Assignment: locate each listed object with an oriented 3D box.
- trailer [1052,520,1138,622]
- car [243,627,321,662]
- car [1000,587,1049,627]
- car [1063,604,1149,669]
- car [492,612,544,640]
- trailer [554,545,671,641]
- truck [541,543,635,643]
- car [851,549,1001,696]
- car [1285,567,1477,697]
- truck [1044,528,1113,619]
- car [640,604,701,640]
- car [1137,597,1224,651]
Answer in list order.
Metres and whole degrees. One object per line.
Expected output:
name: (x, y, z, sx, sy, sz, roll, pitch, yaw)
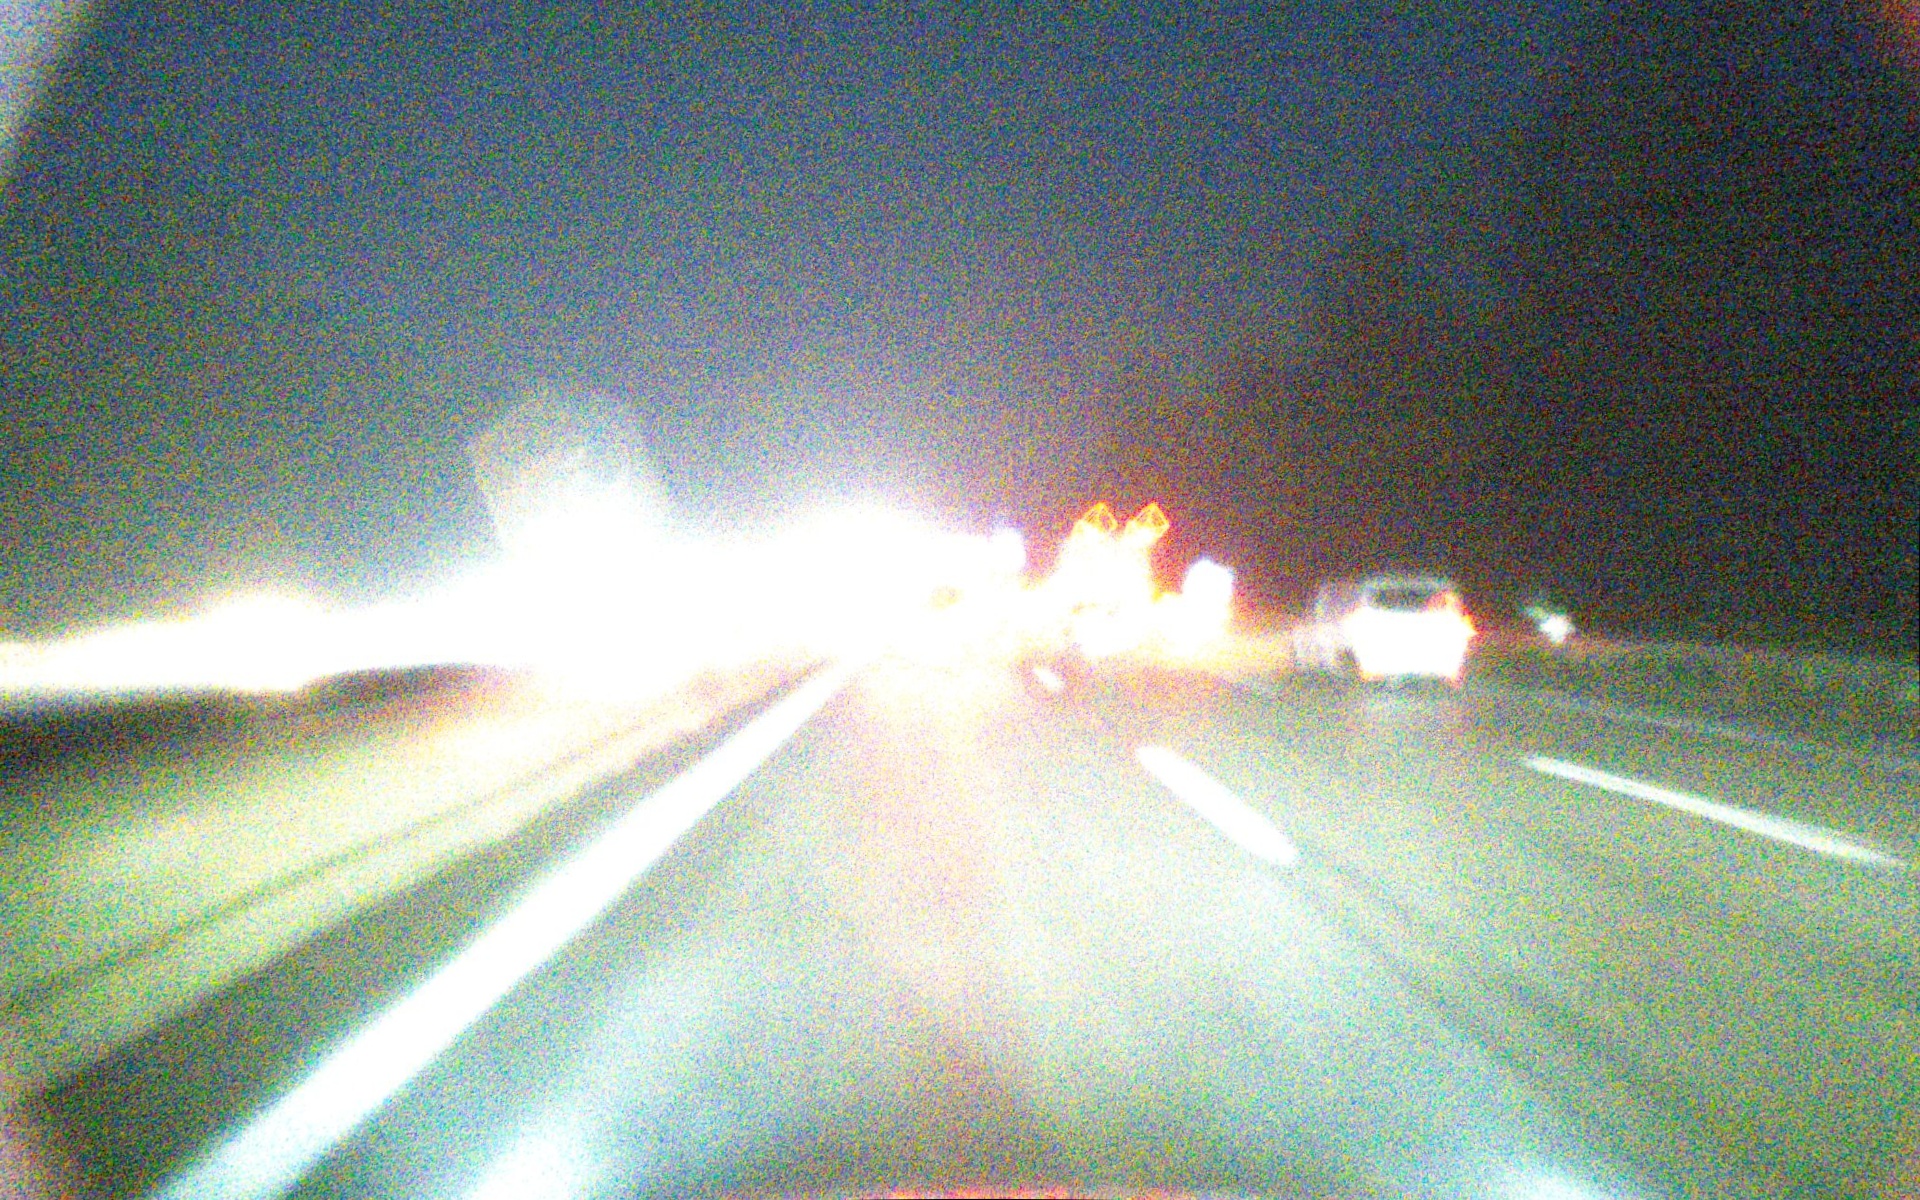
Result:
trailer: (6.044, -1.243, 75.948, 2.746, 4.286, 12.094, 1, 0, -1)
car: (-24.633, 1.605, 60.194, 1.380, 1.145, 3.541, -1, 0, -1)
car: (2.699, 0.287, 69.698, 1.846, 1.616, 3.999, 1, 0, -1)
car: (3.450, 0.839, 39.624, 1.580, 1.437, 3.790, 1, 0, -2)
car: (-21.403, 1.251, 80.238, 1.577, 1.252, 3.681, -1, 0, -1)
trailer: (-17.387, -0.369, 83.996, 2.986, 4.368, 14.406, -2, 0, -1)
truck: (-17.279, -0.323, 77.226, 2.992, 4.368, 6.082, -2, 0, -1)
car: (-0.719, 0.371, 32.865, 2.655, 2.578, 5.828, -2, 1, -2)
car: (7.274, 0.483, 29.191, 2.004, 2.008, 5.407, -2, 1, 0)
truck: (5.886, -1.280, 83.197, 2.747, 4.341, 7.446, 1, 0, -1)
car: (-12.507, 0.915, 71.745, 1.953, 1.445, 3.999, -1, 0, -1)
car: (6.777, 0.694, 51.346, 1.856, 1.512, 4.960, 1, 1, -2)
